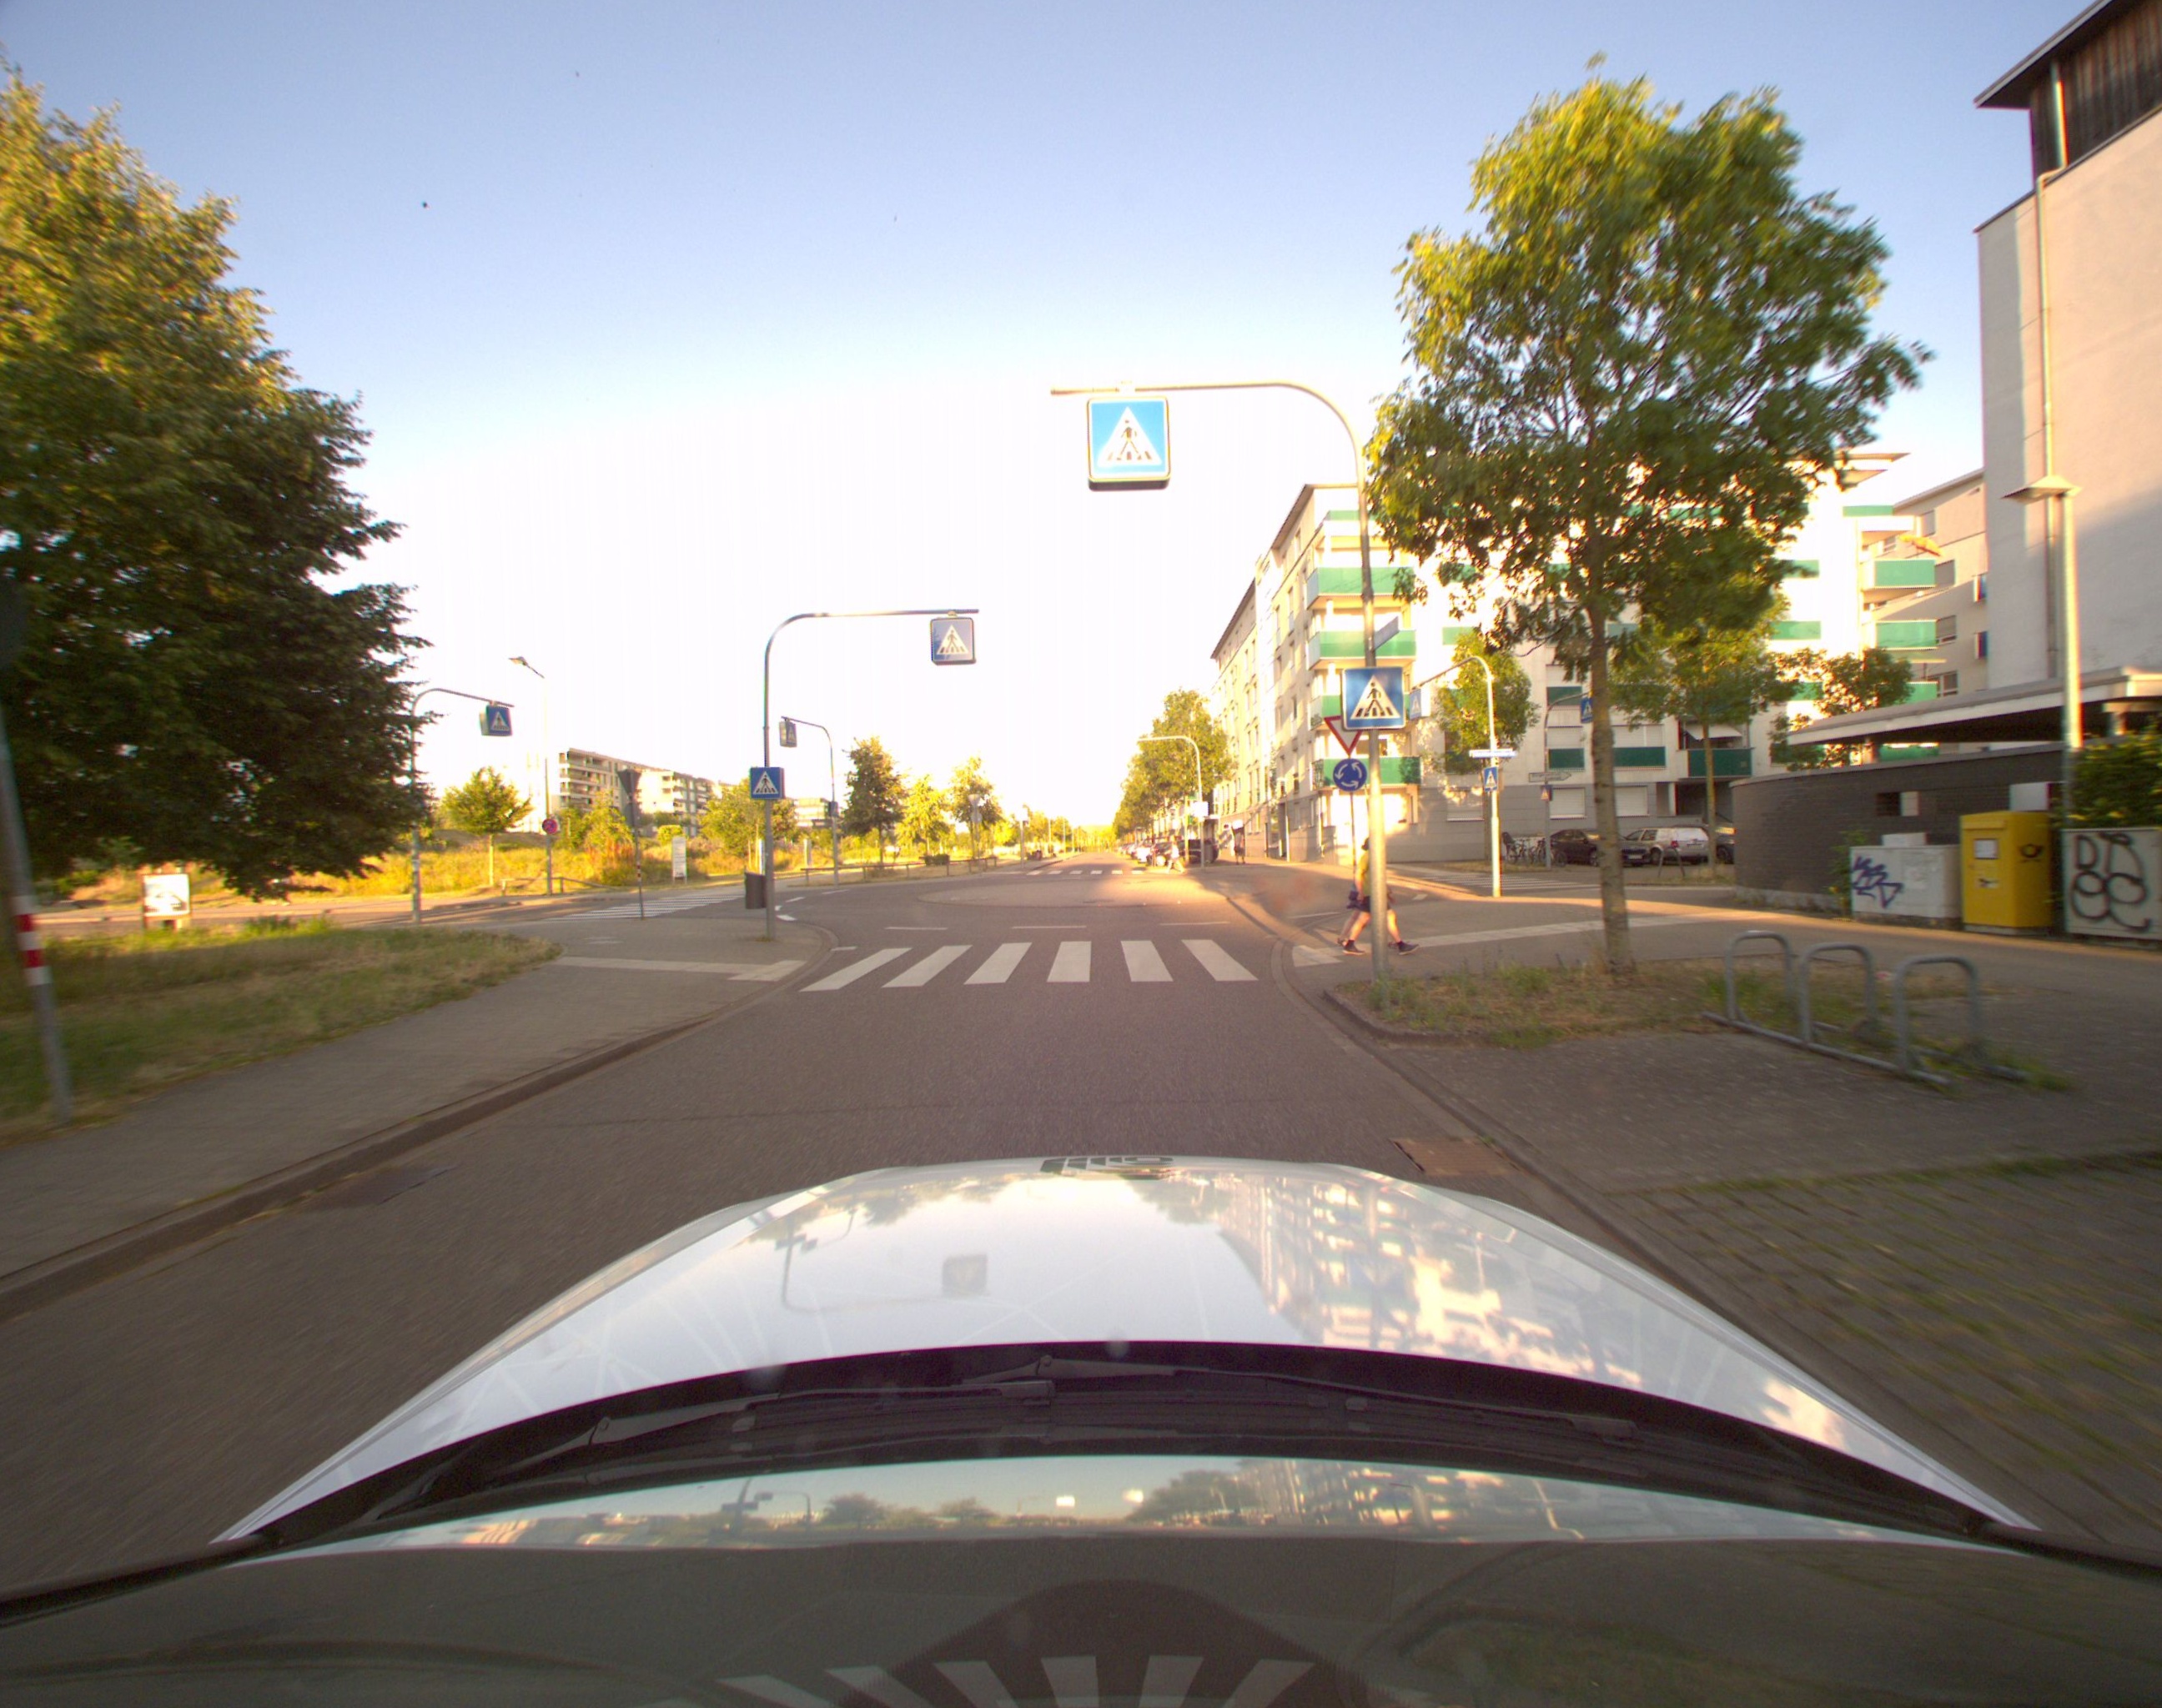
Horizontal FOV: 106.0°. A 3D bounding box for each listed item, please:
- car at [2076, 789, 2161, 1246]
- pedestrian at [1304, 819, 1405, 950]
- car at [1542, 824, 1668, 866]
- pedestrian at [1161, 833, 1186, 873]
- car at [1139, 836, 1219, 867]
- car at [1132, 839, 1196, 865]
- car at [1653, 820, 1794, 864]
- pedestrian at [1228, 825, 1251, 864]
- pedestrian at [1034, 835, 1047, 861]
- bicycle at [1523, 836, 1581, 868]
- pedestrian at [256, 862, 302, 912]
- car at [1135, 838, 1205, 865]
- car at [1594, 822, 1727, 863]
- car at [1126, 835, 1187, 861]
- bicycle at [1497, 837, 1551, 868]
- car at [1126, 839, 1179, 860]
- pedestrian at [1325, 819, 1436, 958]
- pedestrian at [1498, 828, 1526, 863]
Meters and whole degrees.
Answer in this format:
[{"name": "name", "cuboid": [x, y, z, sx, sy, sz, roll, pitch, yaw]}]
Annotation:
[{"name": "car", "cuboid": [5.427, 0.472, 2.033, 3.789, 1.508, 1.679, -2, 0, 0]}, {"name": "pedestrian", "cuboid": [3.886, 0.414, 11.615, 0.983, 1.692, 0.698, -7, 1, -10]}, {"name": "car", "cuboid": [20.411, -0.340, 31.990, 1.987, 1.453, 4.593, -2, 0, 0]}, {"name": "pedestrian", "cuboid": [4.272, -0.044, 37.650, 1.002, 1.788, 0.761, -1, 0, -5]}, {"name": "car", "cuboid": [5.661, -0.152, 47.610, 4.466, 1.596, 2.001, -2, 0, 2]}, {"name": "car", "cuboid": [5.621, -0.132, 55.500, 4.246, 1.596, 2.001, -2, 0, 2]}, {"name": "car", "cuboid": [25.489, -0.468, 32.570, 1.987, 1.553, 4.593, -2, 0, 0]}, {"name": "pedestrian", "cuboid": [8.281, -0.500, 42.561, 0.938, 2.013, 0.848, -2, 0, -3]}, {"name": "pedestrian", "cuboid": [-3.209, -0.498, 64.627, 0.866, 2.013, 0.787, -2, 0, -9]}, {"name": "bicycle", "cuboid": [18.112, -0.093, 31.397, 0.685, 1.151, 2.521, -2, 0, -1]}, {"name": "pedestrian", "cuboid": [-29.588, 1.204, 30.056, 0.864, 1.786, 0.789, -2, 0, -1]}, {"name": "car", "cuboid": [5.743, -0.184, 52.764, 4.338, 1.596, 2.001, -2, 0, 2]}, {"name": "car", "cuboid": [22.882, -0.435, 32.415, 1.987, 1.453, 4.593, -2, 0, 0]}, {"name": "car", "cuboid": [6.502, -0.522, 70.759, 4.992, 2.045, 2.248, -2, 0, -3]}, {"name": "bicycle", "cuboid": [17.273, -0.064, 31.826, 0.694, 1.151, 2.460, -2, 0, -1]}, {"name": "car", "cuboid": [5.917, -0.376, 67.715, 4.249, 1.596, 2.000, -2, 0, 0]}, {"name": "pedestrian", "cuboid": [3.997, 0.437, 10.913, 1.019, 1.693, 0.757, -6, 1, -10]}, {"name": "pedestrian", "cuboid": [17.253, -0.341, 32.623, 0.655, 1.355, 0.802, -2, 0, -1]}]
